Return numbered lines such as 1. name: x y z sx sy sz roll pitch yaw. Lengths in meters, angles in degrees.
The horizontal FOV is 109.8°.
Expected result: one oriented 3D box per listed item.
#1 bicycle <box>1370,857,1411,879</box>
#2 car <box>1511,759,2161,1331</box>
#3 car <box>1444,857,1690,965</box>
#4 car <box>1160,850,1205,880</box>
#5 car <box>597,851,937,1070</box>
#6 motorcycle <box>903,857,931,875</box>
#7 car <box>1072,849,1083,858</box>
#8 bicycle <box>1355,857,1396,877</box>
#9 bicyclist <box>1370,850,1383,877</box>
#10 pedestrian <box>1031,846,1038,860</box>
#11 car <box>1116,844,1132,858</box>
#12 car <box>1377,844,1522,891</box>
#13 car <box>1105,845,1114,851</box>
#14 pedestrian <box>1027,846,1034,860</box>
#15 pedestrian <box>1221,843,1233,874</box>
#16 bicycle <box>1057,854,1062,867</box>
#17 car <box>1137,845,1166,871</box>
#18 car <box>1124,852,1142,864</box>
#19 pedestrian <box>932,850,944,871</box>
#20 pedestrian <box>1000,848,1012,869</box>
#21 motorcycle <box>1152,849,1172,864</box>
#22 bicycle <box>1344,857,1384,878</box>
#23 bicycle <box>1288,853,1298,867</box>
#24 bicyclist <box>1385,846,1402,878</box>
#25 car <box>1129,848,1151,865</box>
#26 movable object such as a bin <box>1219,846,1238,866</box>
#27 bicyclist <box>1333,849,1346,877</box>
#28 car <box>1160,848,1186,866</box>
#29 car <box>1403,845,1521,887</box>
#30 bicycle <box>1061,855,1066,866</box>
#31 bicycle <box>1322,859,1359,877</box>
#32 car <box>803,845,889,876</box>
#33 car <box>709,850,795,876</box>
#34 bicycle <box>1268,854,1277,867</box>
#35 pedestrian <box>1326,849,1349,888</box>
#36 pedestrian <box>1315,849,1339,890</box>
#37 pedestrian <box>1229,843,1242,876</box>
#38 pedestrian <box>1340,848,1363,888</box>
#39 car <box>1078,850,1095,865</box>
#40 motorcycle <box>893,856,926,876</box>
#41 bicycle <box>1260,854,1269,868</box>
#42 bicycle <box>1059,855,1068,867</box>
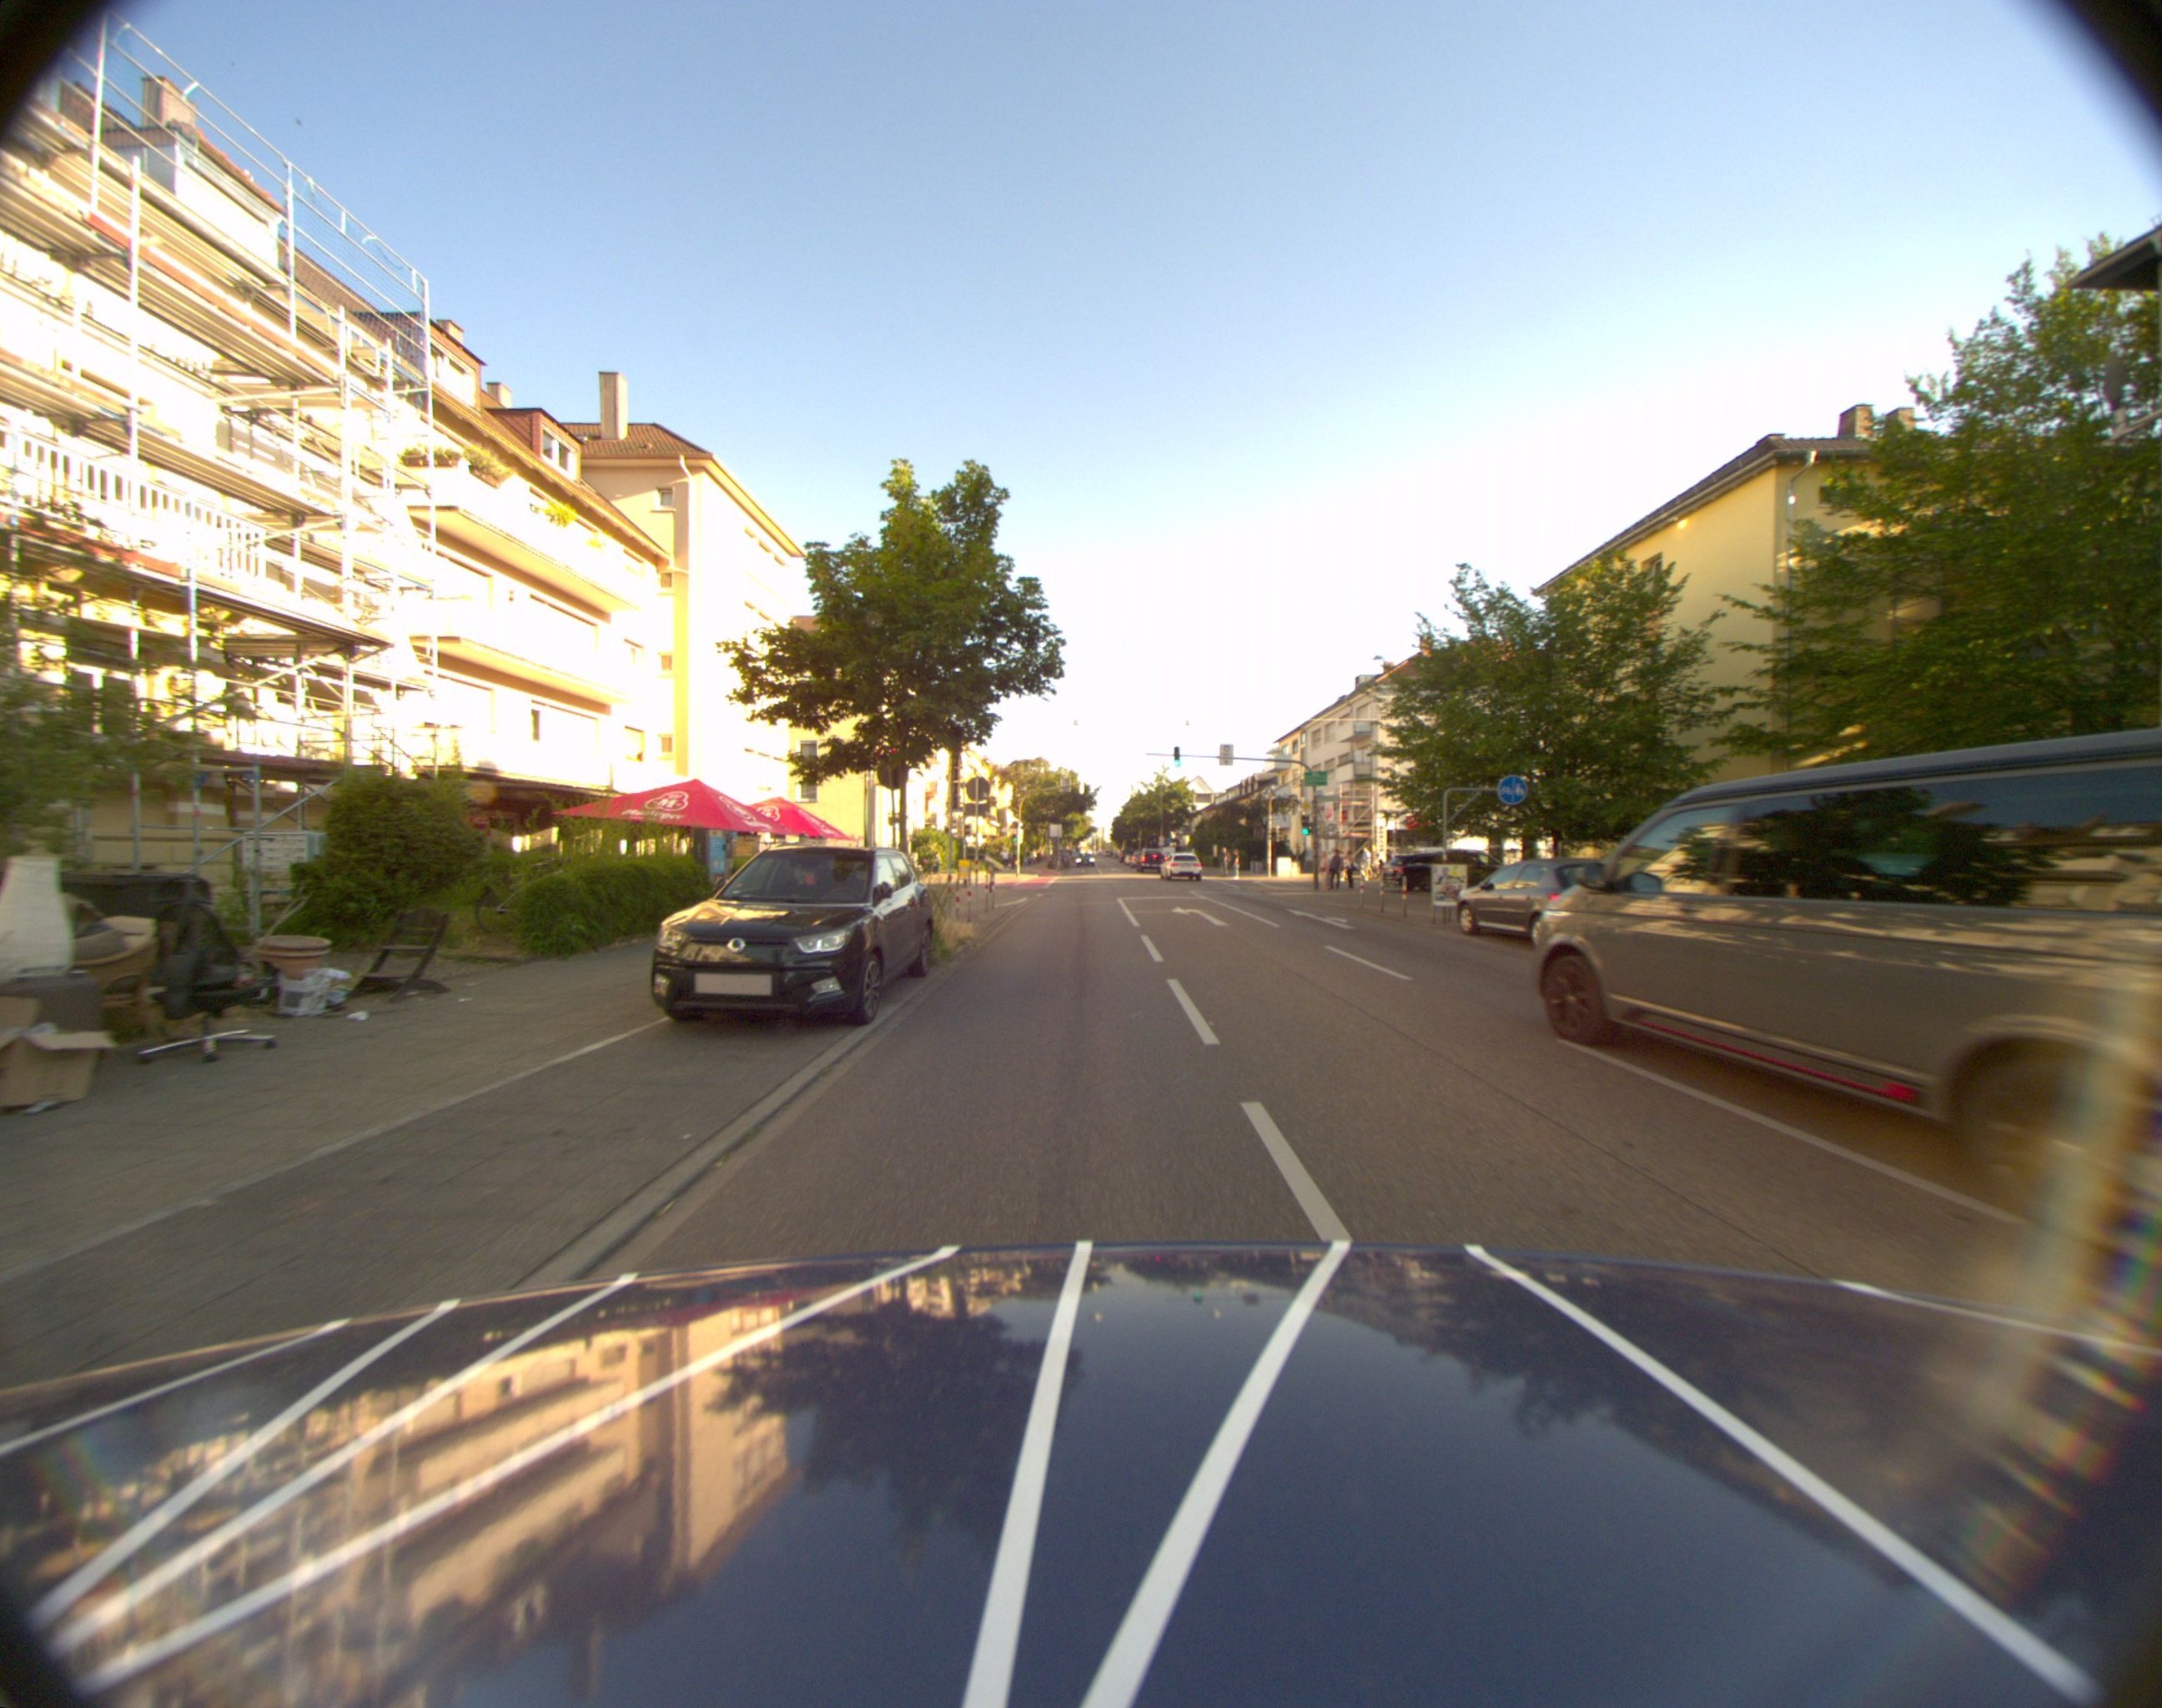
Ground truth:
1. bicycle: 16.911 0.771 41.516 1.999 1.150 0.727 0 0 -5
2. car: 4.687 0.660 4.078 1.998 1.935 4.777 2 1 0
3. car: 7.777 0.815 12.665 1.657 1.471 3.943 0 1 2
4. car: 5.393 0.524 40.923 1.841 1.465 4.671 1 1 1
5. car: -2.761 0.801 7.762 1.796 1.622 4.028 1 1 0
6. motorcycle: -10.573 0.756 49.042 1.698 1.105 0.594 -1 1 1
7. car: -0.529 -0.141 134.712 1.744 1.509 3.811 0 1 3
8. bicycle: 17.932 0.785 46.259 2.267 1.083 0.729 2 4 19
9. bicyclist: 17.979 0.580 46.230 0.687 1.586 0.751 2 4 20
10. pedestrian: -5.597 -0.129 91.425 0.659 1.673 0.831 1 1 6
11. car: 5.657 -0.441 100.538 1.842 1.866 4.409 0 1 0
12. car: 13.892 0.488 28.787 4.603 1.604 1.843 -2 1 -2
13. car: 7.401 -1.551 197.903 1.843 1.604 4.406 0 1 -7
14. pedestrian: -5.985 -0.119 89.313 0.659 1.673 0.831 1 1 6
15. pedestrian: 9.532 0.285 49.601 0.639 2.002 0.739 0 1 2
16. bicycle: -1.859 0.563 66.292 0.325 1.138 1.799 0 1 -4
17. car: 5.250 0.268 56.843 1.866 1.819 5.227 2 1 2
18. car: 5.797 0.402 85.478 1.845 1.312 4.441 1 1 2
19. pedestrian: -9.546 0.444 50.752 0.641 1.383 0.594 -1 1 0
20. pedestrian: -5.914 0.332 60.206 0.830 1.673 0.660 1 1 5
21. motorcycle: 8.450 0.199 79.586 1.263 1.526 2.887 0 1 -13
22. bicycle: 15.709 0.763 42.198 1.999 1.159 0.728 0 0 -5
23. bicycle: 16.078 0.444 57.580 0.439 1.009 1.477 0 1 3
24. bicyclist: 17.077 0.442 41.530 0.608 1.711 0.749 0 0 -5
25. car: 5.611 0.222 72.435 1.809 1.548 4.000 -2 1 1
26. movable object such as a bin: 12.412 0.161 63.951 1.309 1.649 1.180 -4 2 0
27. bicyclist: 15.549 0.553 45.681 0.672 1.643 0.750 0 0 11
28. car: 8.474 0.248 70.457 1.810 1.604 3.950 0 1 -2
29. car: 17.444 0.521 34.960 4.483 1.837 1.908 0 1 0
30. bicycle: -1.544 0.564 68.938 0.325 0.981 1.191 0 1 5
31. bicycle: 15.580 0.850 45.680 1.996 1.083 0.728 0 0 10
32. car: -14.905 0.395 48.423 4.842 1.855 1.952 0 2 -2
33. car: -20.987 0.551 48.547 4.620 1.533 1.952 0 2 -2
34. bicycle: 14.561 0.497 57.805 0.439 1.009 1.477 0 1 3
35. pedestrian: 10.884 0.596 32.239 0.750 1.648 0.608 0 1 -6
36. pedestrian: 9.888 0.626 30.544 0.608 1.585 0.749 -4 2 -2
37. pedestrian: 9.771 0.347 48.078 0.645 2.002 0.814 -1 2 2
38. pedestrian: 11.214 0.582 31.454 0.607 1.620 0.751 -2 3 37
39. car: 0.580 0.368 79.645 1.641 1.482 4.415 1 1 0
40. motorcycle: -10.822 0.728 47.978 1.992 1.194 0.774 -1 1 -12
41. bicycle: 13.955 0.505 57.854 0.439 1.009 1.477 0 1 3
42. bicycle: -1.643 0.639 71.503 0.324 1.138 1.802 0 1 14
